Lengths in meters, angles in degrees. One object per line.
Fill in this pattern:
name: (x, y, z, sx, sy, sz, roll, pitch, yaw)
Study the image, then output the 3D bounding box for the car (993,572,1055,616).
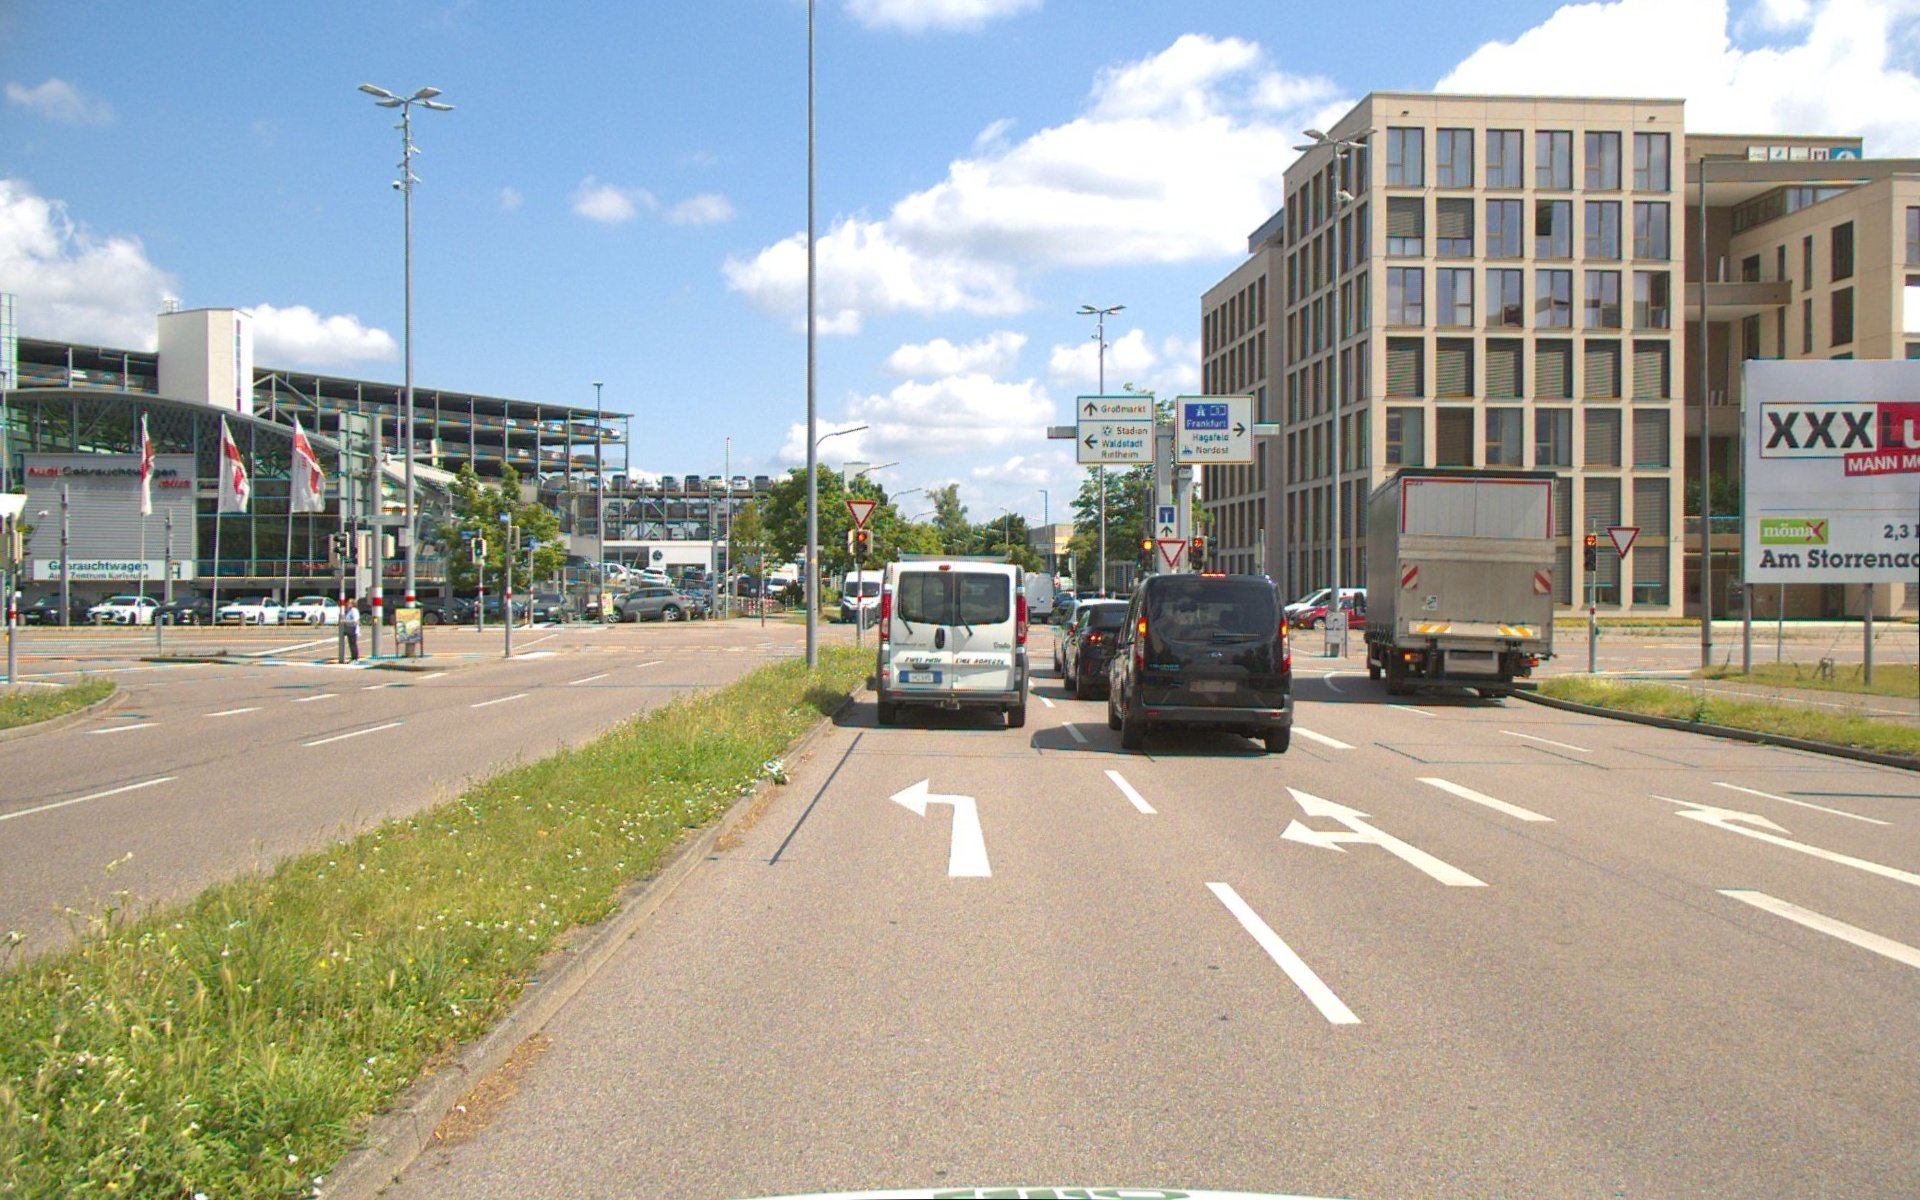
car: (3.476, -0.360, 90.393, 1.960, 2.294, 5.495, 1, 1, -14)

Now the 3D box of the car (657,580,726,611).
car: (-15.892, -0.275, 97.911, 3.835, 1.742, 1.687, -1, 1, -4)

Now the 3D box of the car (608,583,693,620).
car: (-14.849, 0.078, 79.419, 3.785, 1.668, 1.856, -1, 1, -4)

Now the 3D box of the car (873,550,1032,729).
car: (-0.032, 0.467, 21.385, 1.817, 2.053, 4.001, 1, 0, 2)

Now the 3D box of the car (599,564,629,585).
car: (-27.526, -2.030, 131.629, 1.810, 1.556, 3.996, 1, 1, -5)

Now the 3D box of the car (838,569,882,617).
car: (-5.002, -0.365, 82.398, 1.933, 2.295, 4.974, -1, 1, -6)

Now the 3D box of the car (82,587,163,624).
car: (-36.790, 0.220, 72.737, 1.842, 1.512, 3.698, 1, 1, -4)

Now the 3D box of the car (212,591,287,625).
car: (-31.397, 0.339, 73.175, 1.870, 1.400, 3.749, 1, 1, -4)

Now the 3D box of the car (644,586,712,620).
car: (-15.279, 0.131, 89.787, 3.439, 1.742, 1.602, -1, 1, -4)

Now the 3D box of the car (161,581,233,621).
car: (-33.522, 0.019, 72.773, 1.722, 1.689, 3.614, 1, 1, -4)

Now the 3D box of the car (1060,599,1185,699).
car: (2.656, 0.778, 27.727, 1.704, 1.521, 4.000, 1, 0, 0)

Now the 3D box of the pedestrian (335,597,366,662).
pedestrian: (-14.740, 0.711, 39.975, 0.460, 1.538, 0.511, 1, 0, 24)

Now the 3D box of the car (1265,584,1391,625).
car: (15.676, 0.181, 70.562, 4.892, 1.635, 1.995, 1, 1, -10)

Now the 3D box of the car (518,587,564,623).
car: (-18.832, 0.208, 74.310, 1.788, 1.579, 3.981, 1, 0, -17)

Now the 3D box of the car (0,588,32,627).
car: (-43.238, 0.308, 73.716, 1.779, 1.693, 3.790, 1, 0, -4)

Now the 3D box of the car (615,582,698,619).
car: (-15.008, 0.002, 82.021, 3.835, 1.742, 1.687, -1, 1, -4)

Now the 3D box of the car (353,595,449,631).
car: (-24.744, 0.569, 73.247, 3.718, 1.539, 1.677, 1, 1, -6)

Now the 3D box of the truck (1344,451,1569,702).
truck: (9.003, -0.450, 31.048, 3.063, 4.009, 8.866, 1, 1, 11)

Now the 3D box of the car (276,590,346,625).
car: (-28.787, 0.300, 73.499, 1.741, 1.475, 4.026, 1, 1, -4)

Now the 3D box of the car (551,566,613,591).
car: (-27.023, -1.519, 118.339, 4.085, 1.743, 1.686, 1, 0, -6)

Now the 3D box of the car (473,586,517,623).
car: (-20.773, 0.181, 73.815, 1.788, 1.579, 3.981, 1, 0, -17)

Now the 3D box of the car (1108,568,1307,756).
car: (2.670, 0.617, 18.655, 1.782, 1.840, 4.001, 1, 0, 2)

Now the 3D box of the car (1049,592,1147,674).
car: (2.815, 0.663, 34.509, 1.704, 1.570, 4.000, 1, 0, 0)

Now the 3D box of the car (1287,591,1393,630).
car: (15.212, 0.411, 66.351, 3.815, 1.516, 1.794, 1, 1, -2)

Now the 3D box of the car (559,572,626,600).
car: (-24.061, -0.898, 108.517, 4.085, 1.743, 1.686, 1, 0, -6)

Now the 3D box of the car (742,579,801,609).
car: (-12.658, -0.398, 111.050, 3.911, 1.959, 1.824, 1, 0, -7)

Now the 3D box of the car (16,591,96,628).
car: (-39.525, 0.380, 72.393, 1.693, 1.512, 3.698, 1, 1, -4)

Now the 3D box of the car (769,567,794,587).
car: (-14.226, -1.828, 131.858, 1.810, 1.556, 3.996, 1, 1, -5)

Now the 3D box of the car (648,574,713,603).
car: (-18.586, -0.784, 110.058, 4.085, 1.742, 1.687, 2, 1, -7)
